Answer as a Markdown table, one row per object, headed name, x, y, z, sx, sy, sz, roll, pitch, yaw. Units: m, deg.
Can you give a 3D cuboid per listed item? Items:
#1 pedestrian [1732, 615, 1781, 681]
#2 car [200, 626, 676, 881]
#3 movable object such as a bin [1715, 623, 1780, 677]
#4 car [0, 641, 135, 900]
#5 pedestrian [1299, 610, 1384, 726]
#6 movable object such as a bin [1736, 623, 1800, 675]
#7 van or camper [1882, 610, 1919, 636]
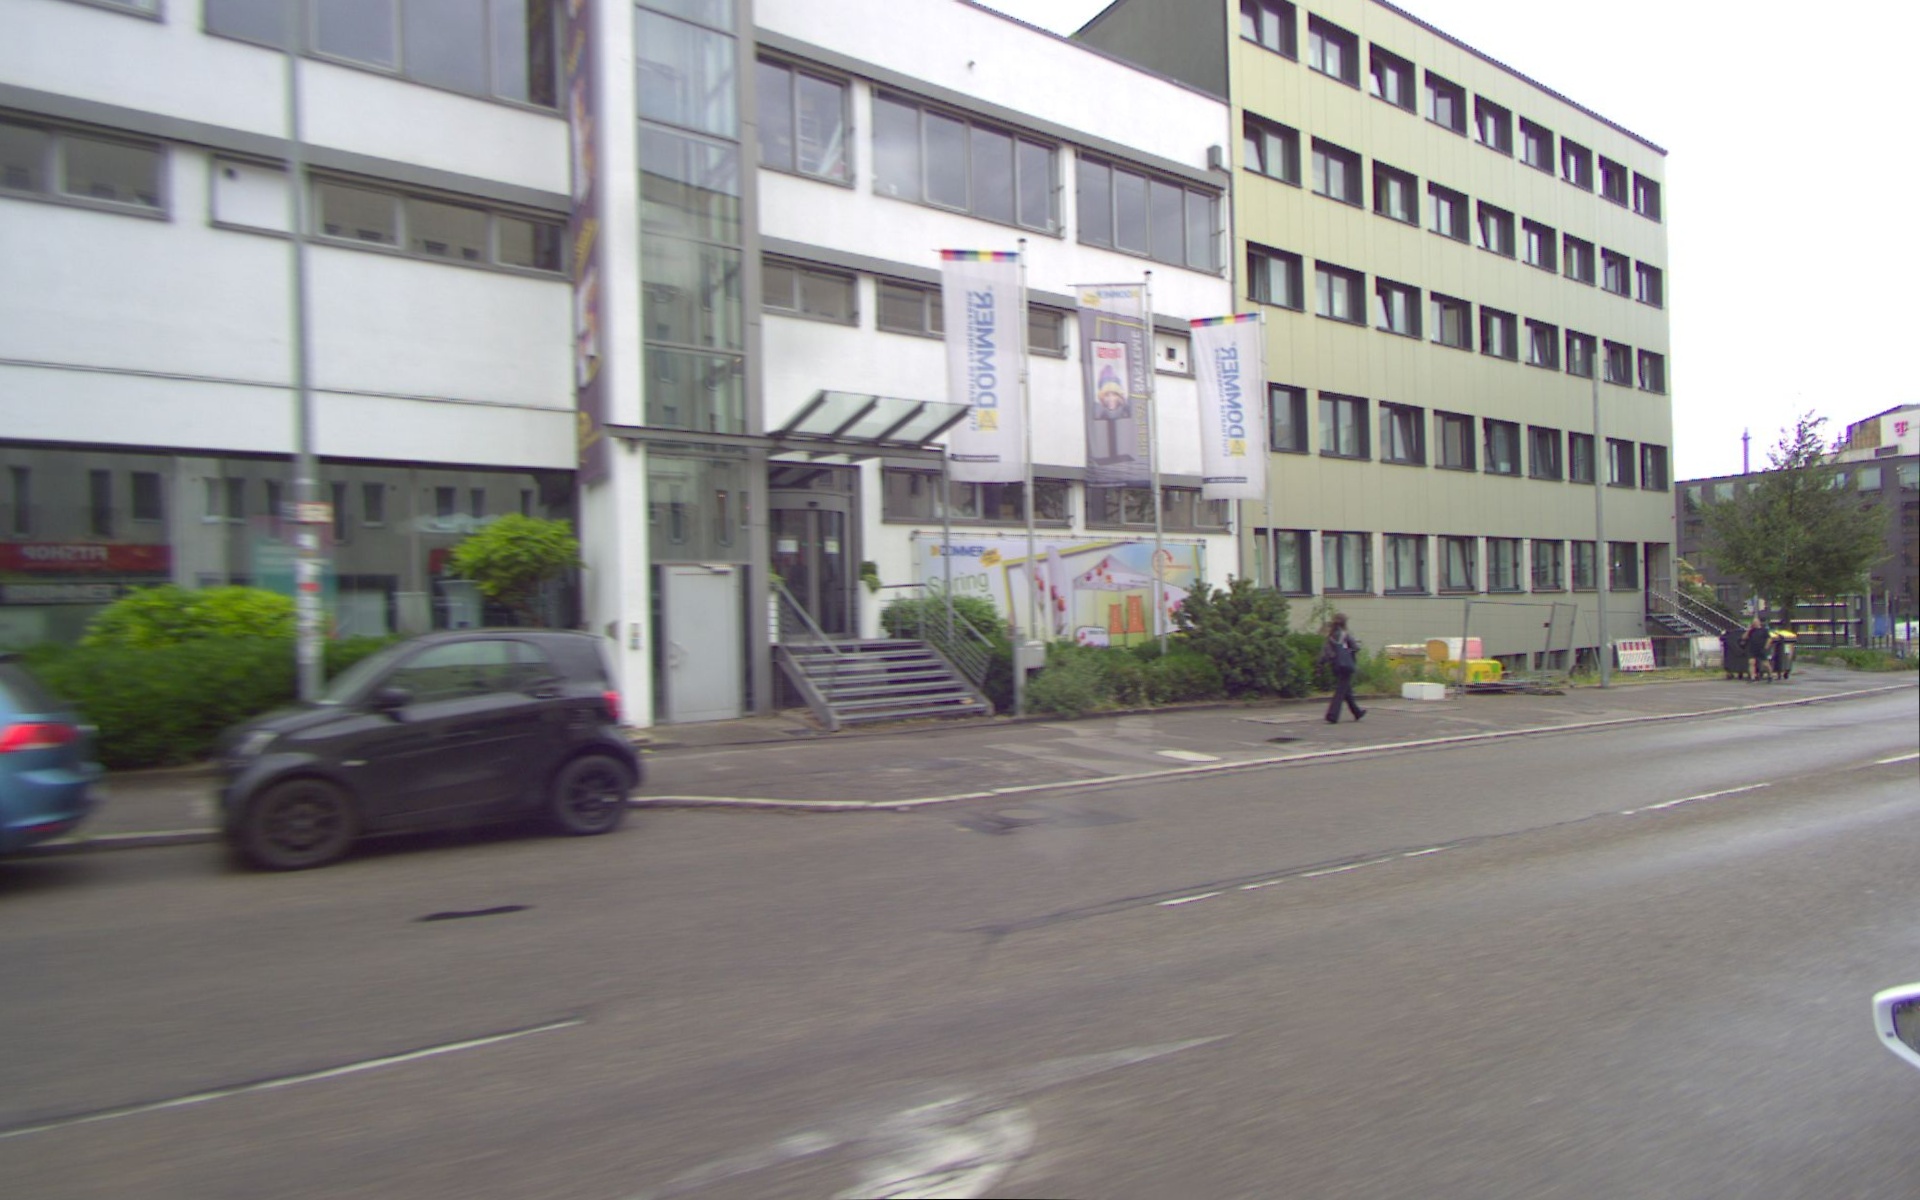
| name | x | y | z | sx | sy | sz | roll | pitch | yaw |
| --- | --- | --- | --- | --- | --- | --- | --- | --- | --- |
| pedestrian | 21.888 | 1.312 | 27.591 | 0.931 | 1.755 | 0.751 | 1 | 0 | -30 |
| car | -3.849 | 1.002 | 7.564 | 2.956 | 1.529 | 1.503 | 2 | -4 | -38 |
| movable object such as a bin | 22.889 | 1.442 | 29.203 | 1.414 | 1.464 | 1.048 | 1 | 0 | -31 |
| car | -7.056 | 0.964 | 5.194 | 4.232 | 1.421 | 1.644 | 1 | -4 | -38 |
| pedestrian | 5.849 | 1.014 | 15.403 | 0.958 | 1.699 | 0.763 | 1 | 0 | -32 |
| movable object such as a bin | 24.087 | 1.457 | 29.949 | 1.343 | 1.464 | 1.048 | 1 | 0 | -31 |
| van or camper | 90.778 | 2.193 | 94.580 | 2.710 | 2.400 | 5.298 | 1 | 0 | -33 |
